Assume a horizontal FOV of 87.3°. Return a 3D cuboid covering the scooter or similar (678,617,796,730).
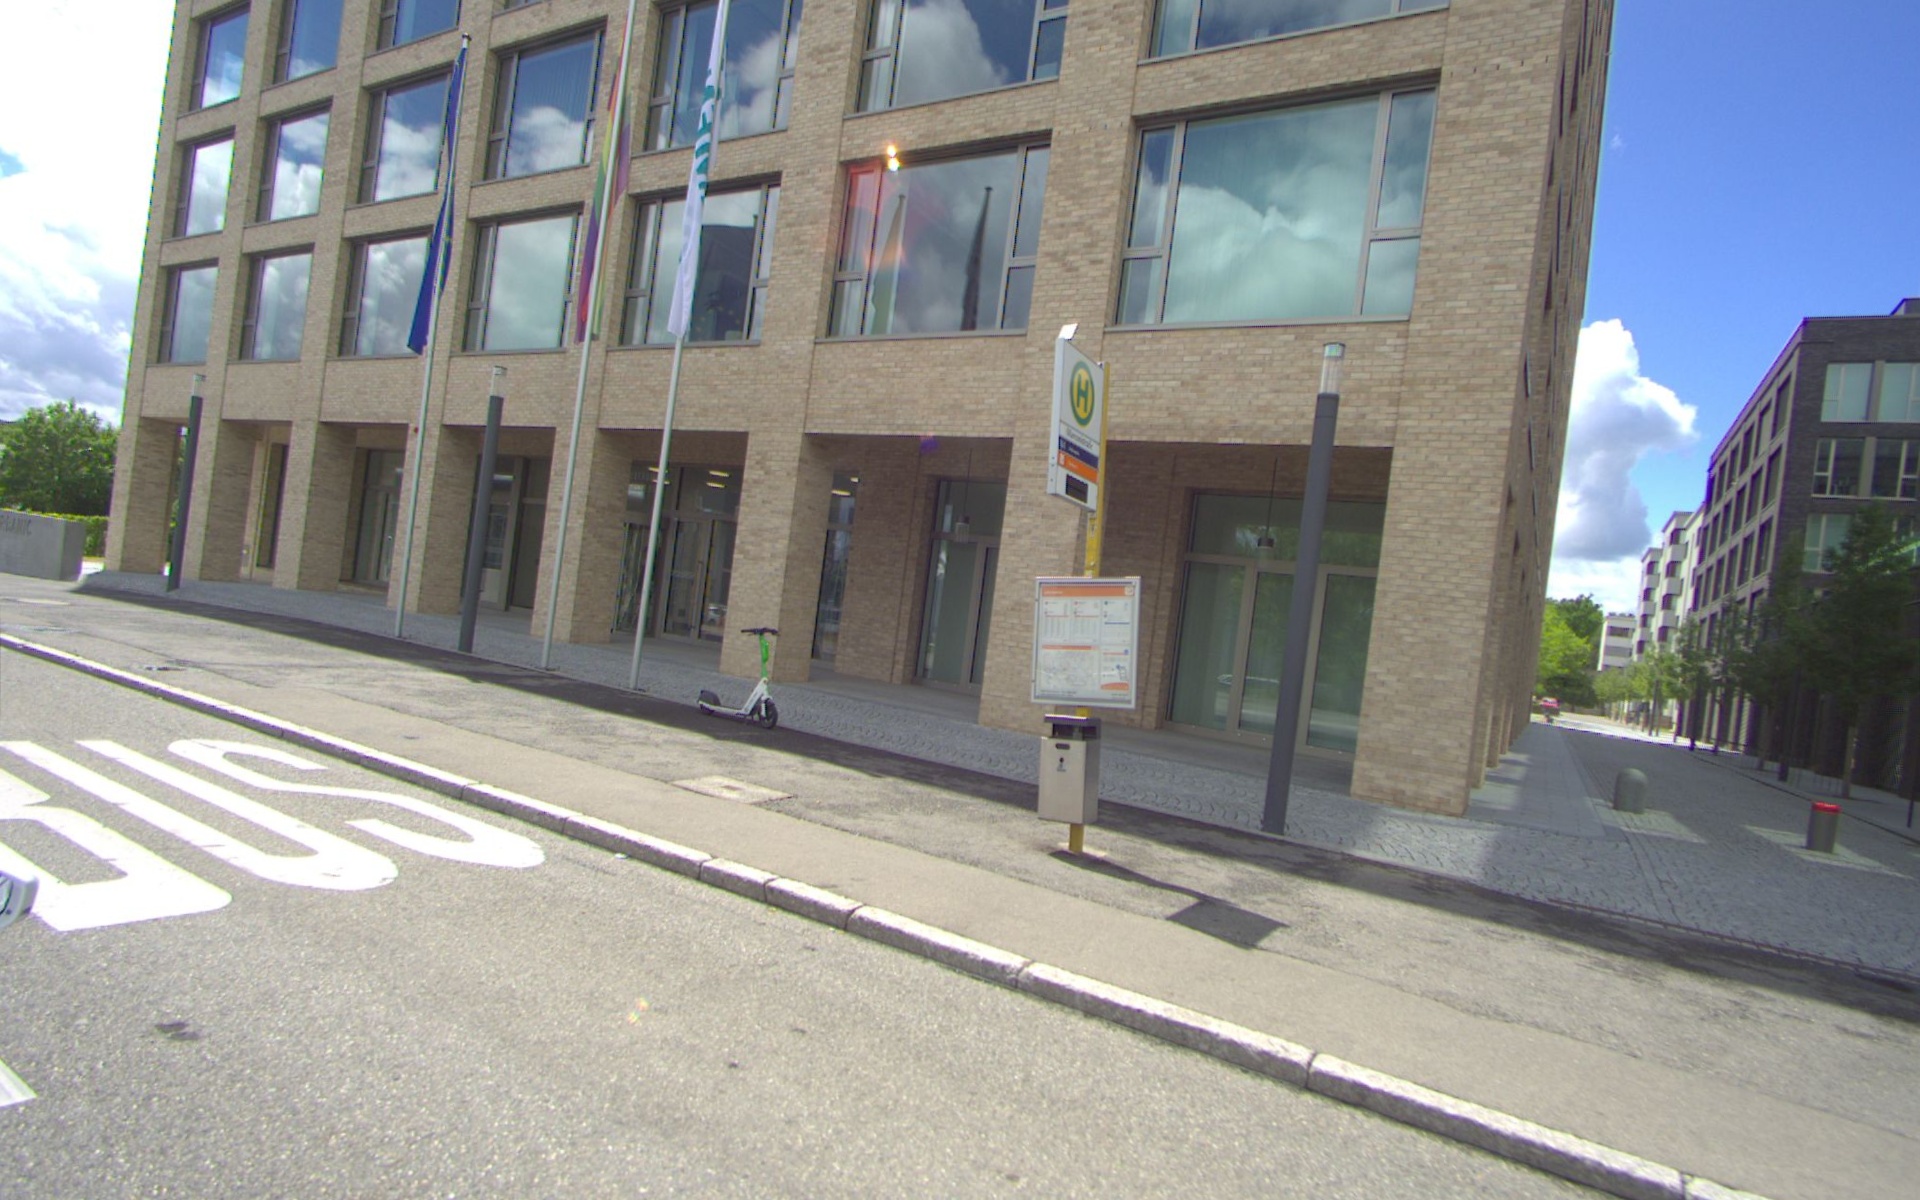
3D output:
[{"bbox_3d":[-2.701,0.869,12.133,1.380,1.167,0.427,6,0,31],"label":"scooter or similar"}]
